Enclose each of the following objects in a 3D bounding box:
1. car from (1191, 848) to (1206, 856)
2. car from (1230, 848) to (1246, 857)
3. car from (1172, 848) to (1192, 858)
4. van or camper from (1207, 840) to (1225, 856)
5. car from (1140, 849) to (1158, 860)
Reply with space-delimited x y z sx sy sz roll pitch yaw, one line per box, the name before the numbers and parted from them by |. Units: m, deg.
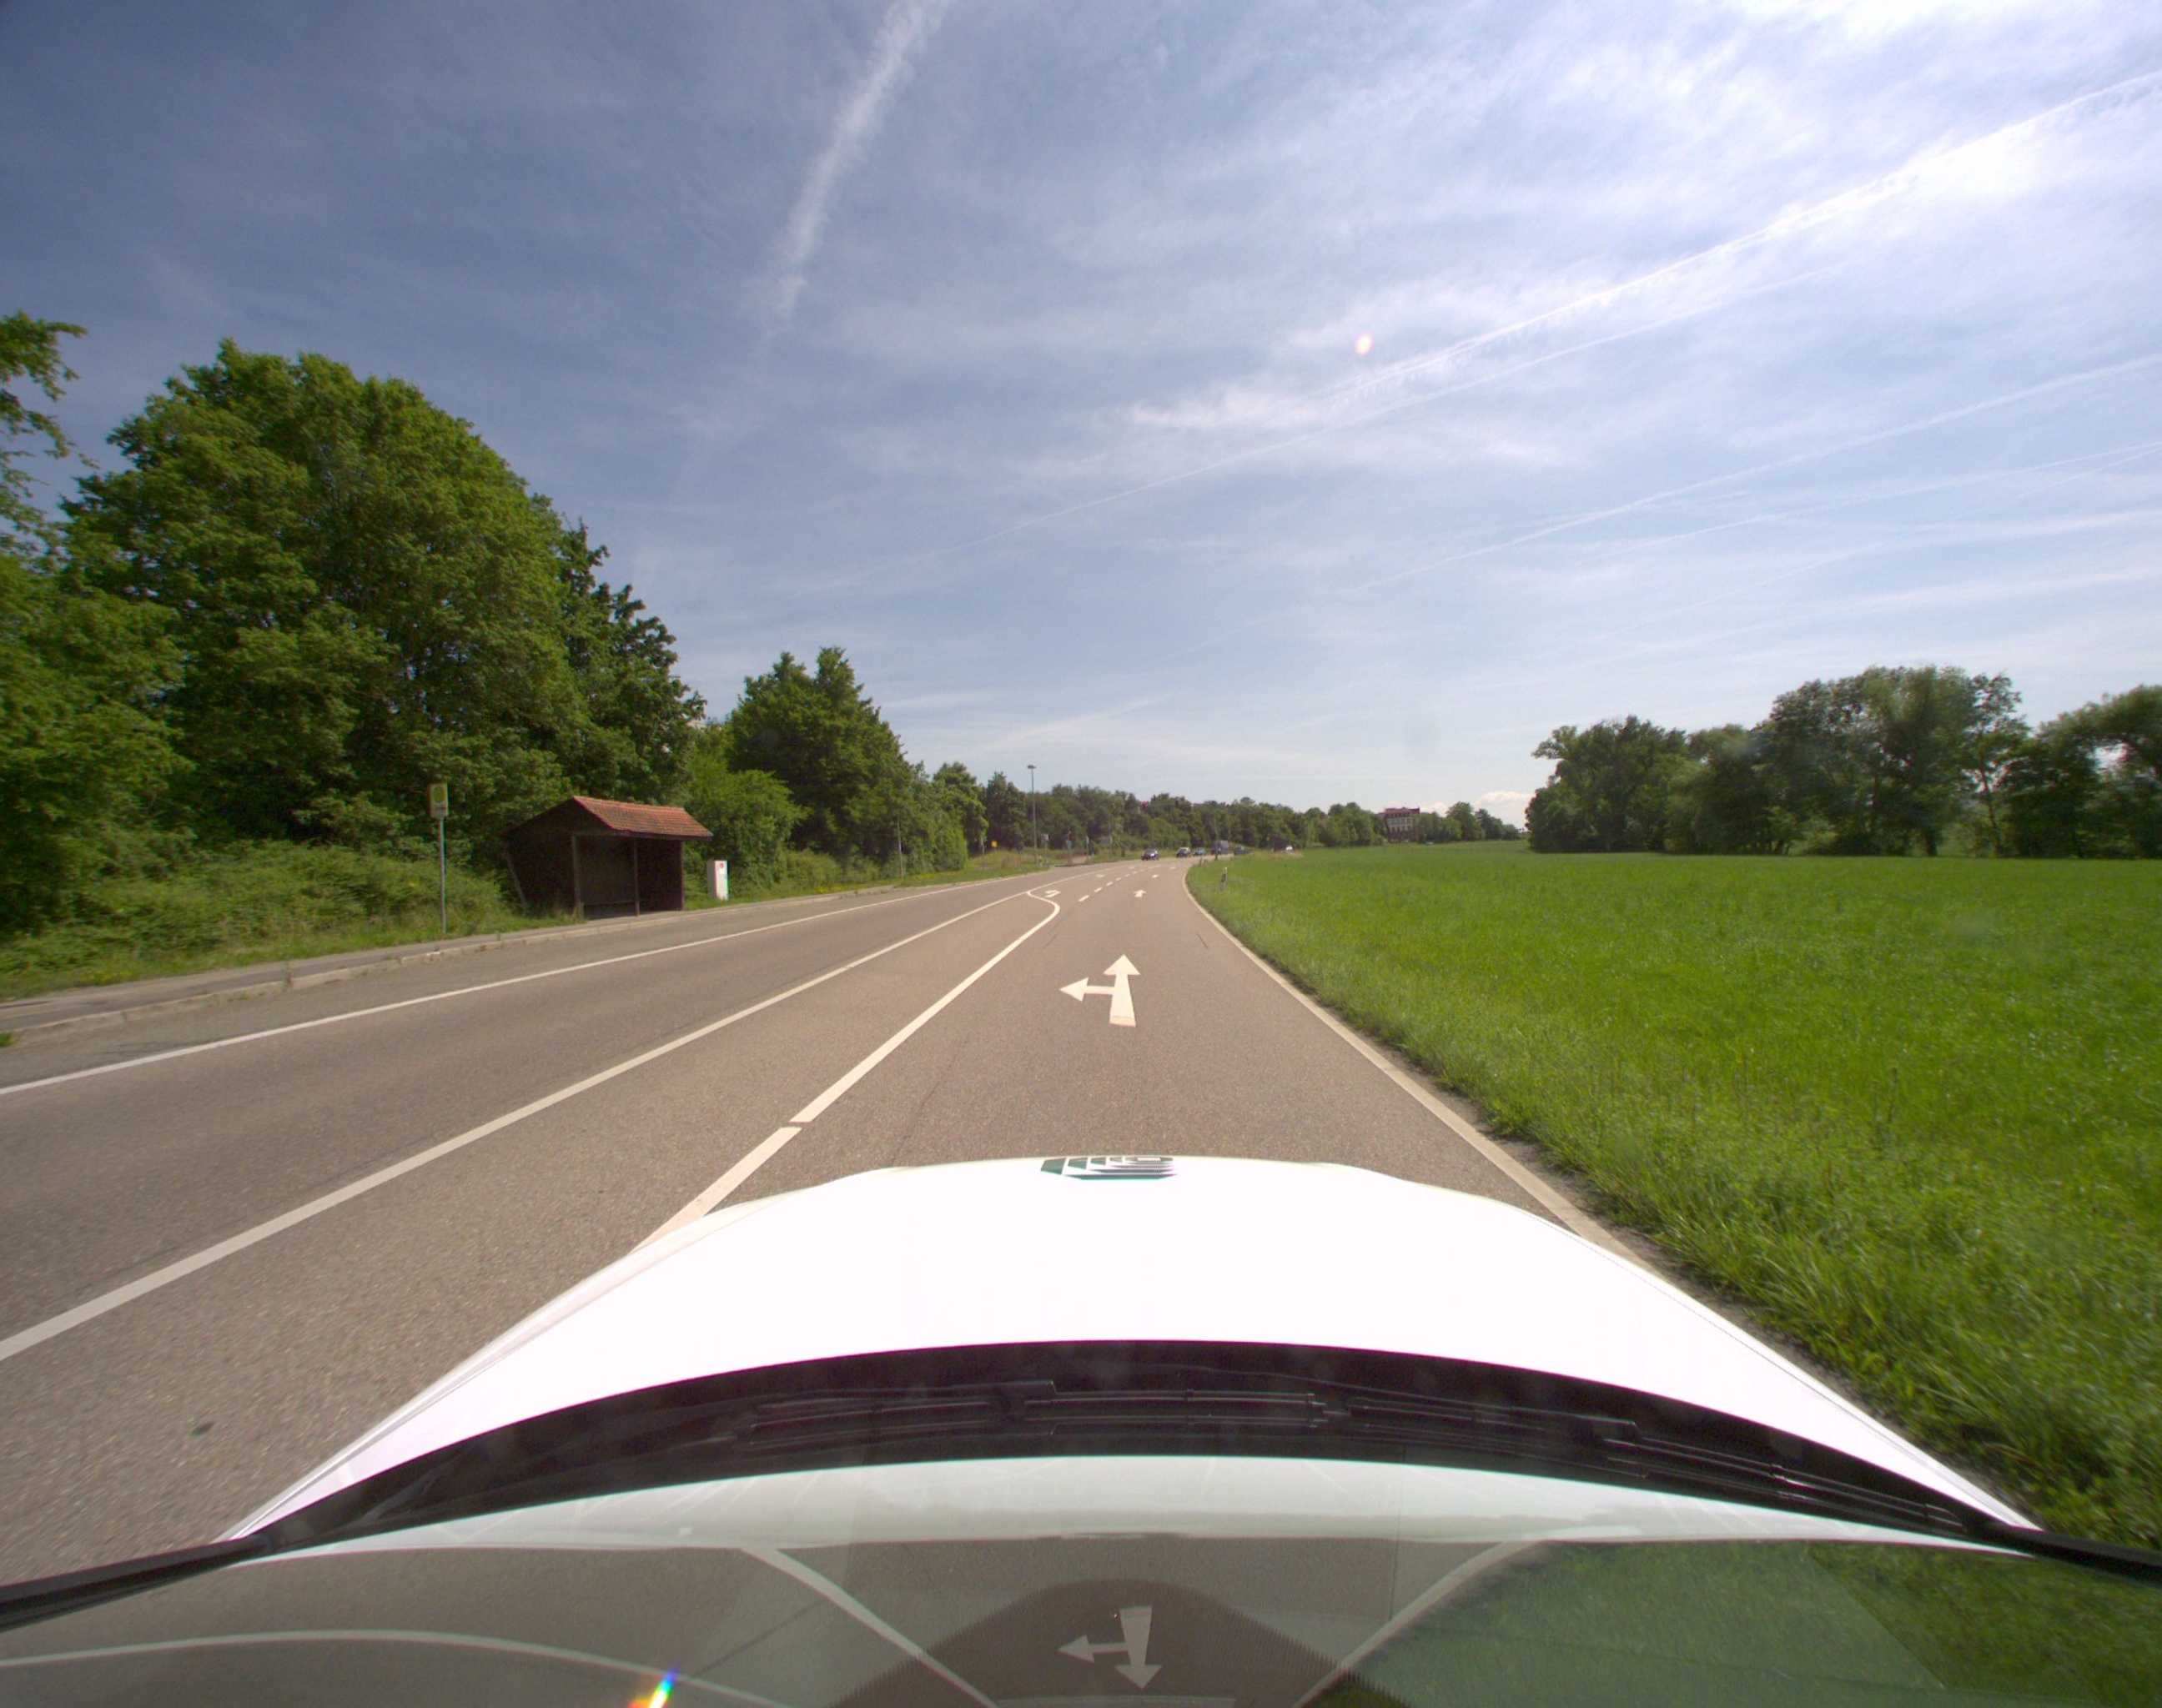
car | 20.964 -0.336 145.095 1.692 1.483 3.852 -1 0 21
car | 28.505 -0.235 147.942 1.976 1.574 4.021 -1 0 22
car | 16.194 -0.198 129.887 1.956 1.562 4.213 -1 0 25
van or camper | 26.725 -1.186 161.098 2.221 2.913 7.283 -1 1 19
car | 9.204 0.021 109.676 1.778 1.474 4.326 -1 0 13
